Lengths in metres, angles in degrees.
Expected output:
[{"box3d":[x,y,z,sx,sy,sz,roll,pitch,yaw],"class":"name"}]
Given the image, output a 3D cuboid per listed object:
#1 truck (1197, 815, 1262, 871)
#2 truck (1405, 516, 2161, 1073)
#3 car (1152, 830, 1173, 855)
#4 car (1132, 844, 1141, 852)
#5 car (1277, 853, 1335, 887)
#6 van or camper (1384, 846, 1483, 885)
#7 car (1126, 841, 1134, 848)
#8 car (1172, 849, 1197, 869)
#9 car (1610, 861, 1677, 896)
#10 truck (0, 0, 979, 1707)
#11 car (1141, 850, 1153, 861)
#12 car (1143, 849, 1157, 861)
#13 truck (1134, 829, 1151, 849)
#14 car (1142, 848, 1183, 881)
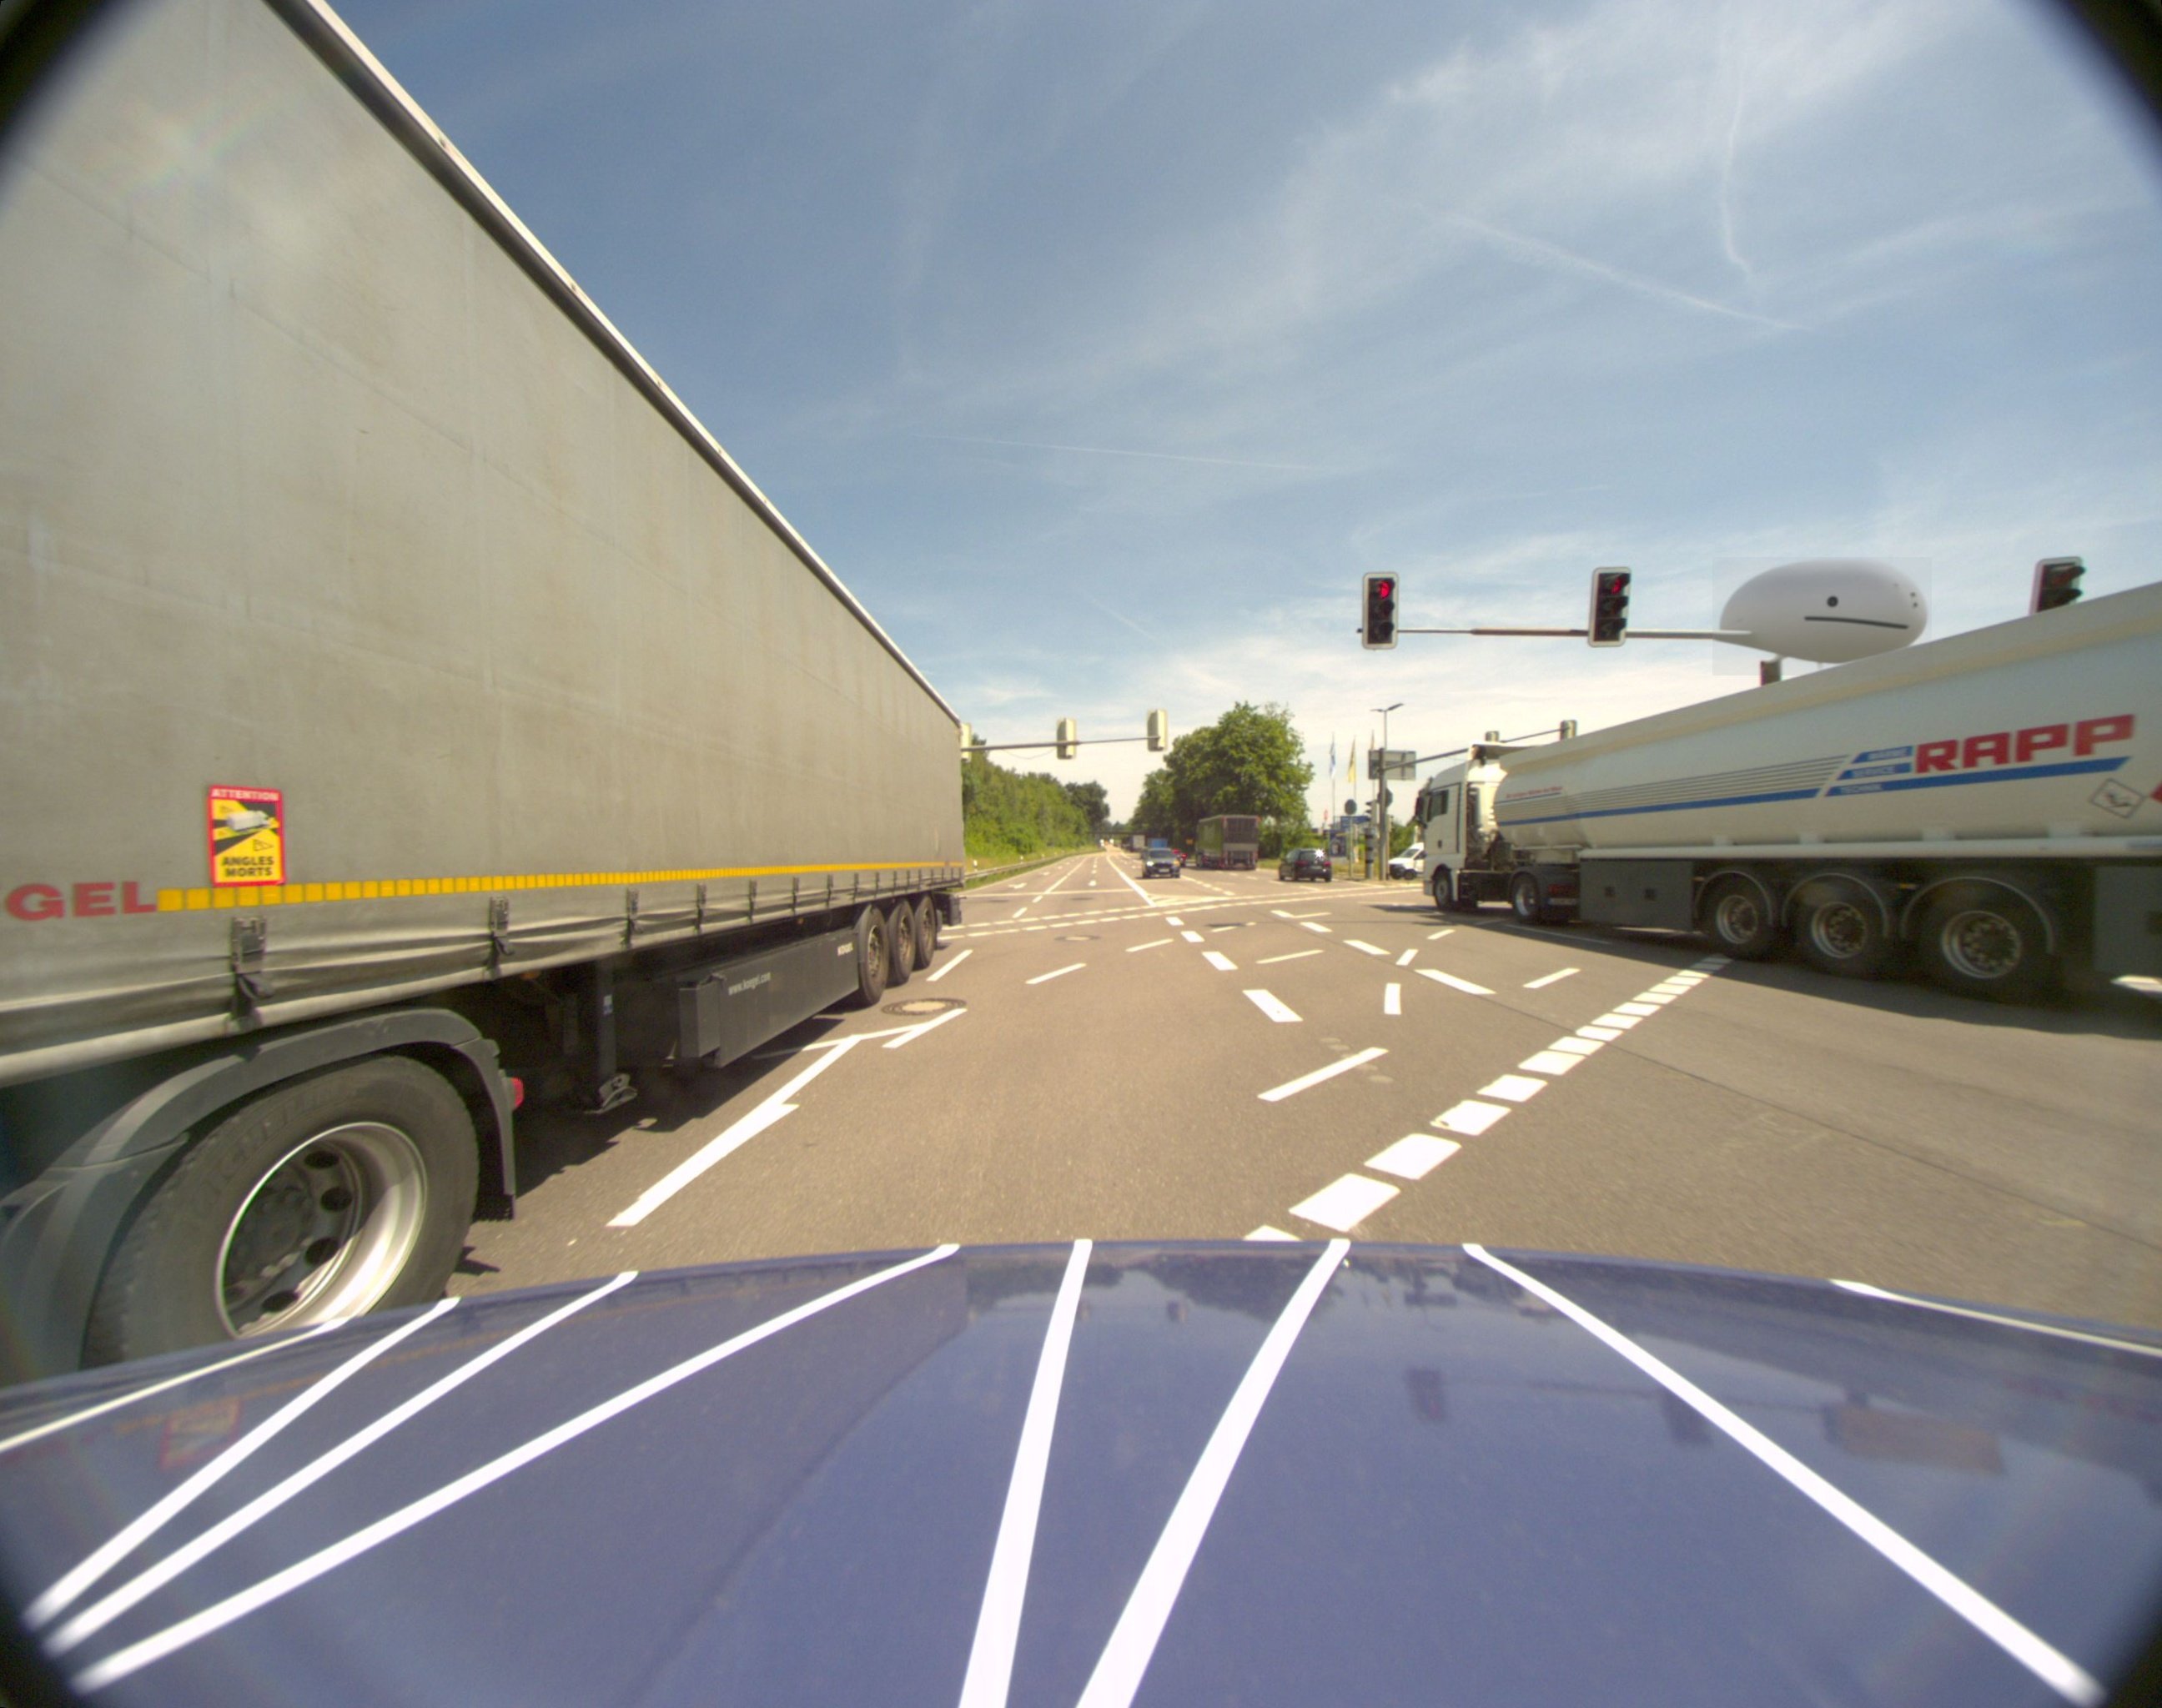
[{"box3d":[11.798,-0.814,62.256,2.850,3.932,17.089,-1,0,3],"class":"truck"},{"box3d":[9.419,-0.486,12.318,2.611,3.995,15.132,-1,0,3],"class":"truck"},{"box3d":[13.989,-1.970,130.316,3.350,4.056,7.696,-1,1,6],"class":"car"},{"box3d":[13.650,-1.395,186.640,1.899,2.002,3.754,1,1,6],"class":"car"},{"box3d":[10.705,0.715,36.458,1.687,1.420,4.154,1,1,3],"class":"car"},{"box3d":[22.811,0.714,49.359,5.465,2.398,2.096,-1,1,-1],"class":"van or camper"},{"box3d":[13.977,-2.712,217.535,2.168,2.002,4.002,1,1,6],"class":"car"},{"box3d":[8.559,0.390,63.048,1.687,1.489,3.955,2,1,3],"class":"car"},{"box3d":[25.211,1.065,34.016,1.918,1.413,4.009,1,1,44],"class":"car"},{"box3d":[-3.429,-0.342,6.525,2.980,3.987,14.122,1,0,1],"class":"truck"},{"box3d":[9.945,0.177,115.079,1.687,1.489,3.955,2,1,3],"class":"car"},{"box3d":[9.156,0.113,100.826,1.687,1.489,3.955,2,1,3],"class":"car"},{"box3d":[14.341,-3.433,177.376,3.533,4.496,7.204,-2,1,6],"class":"truck"},{"box3d":[4.367,0.532,41.487,1.928,1.601,4.510,-1,1,2],"class":"car"}]
